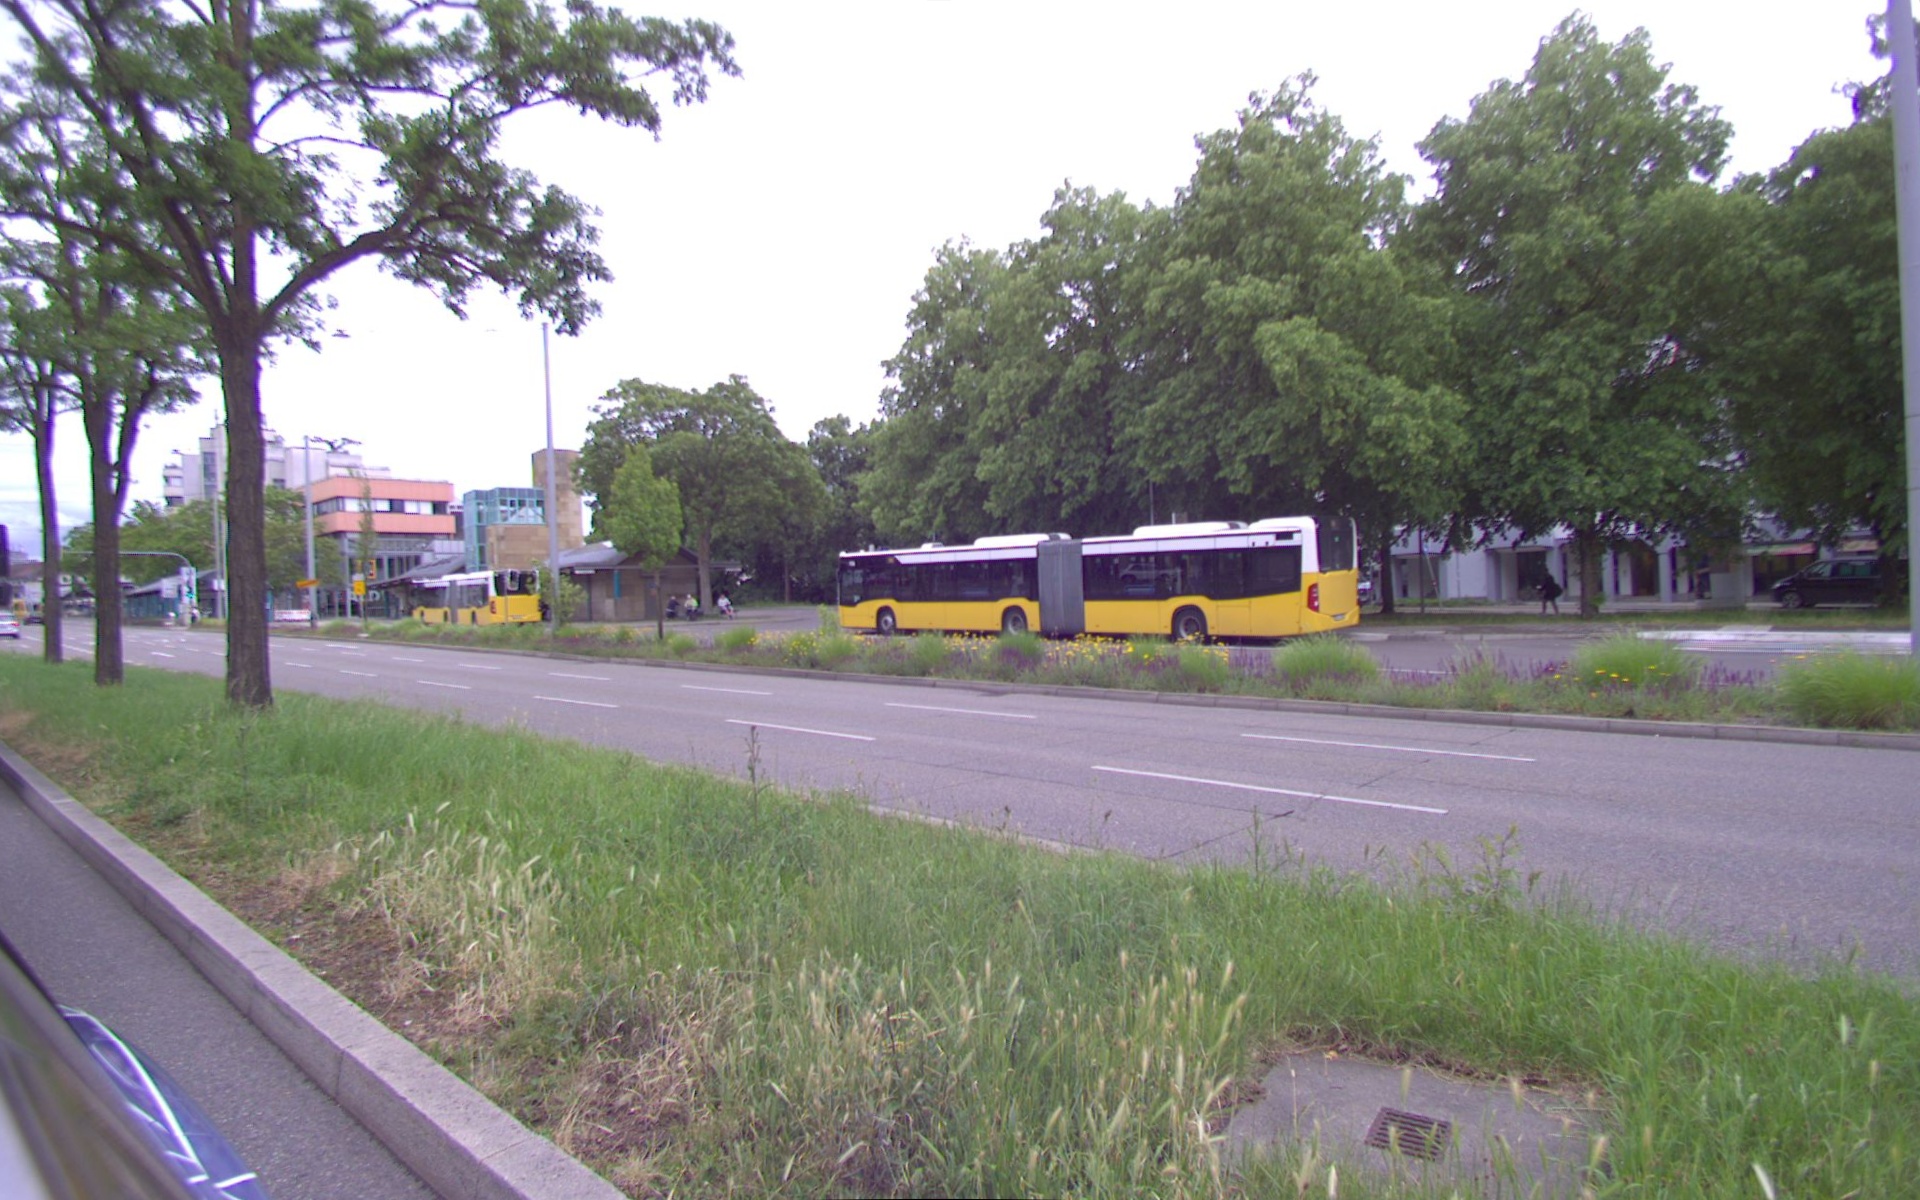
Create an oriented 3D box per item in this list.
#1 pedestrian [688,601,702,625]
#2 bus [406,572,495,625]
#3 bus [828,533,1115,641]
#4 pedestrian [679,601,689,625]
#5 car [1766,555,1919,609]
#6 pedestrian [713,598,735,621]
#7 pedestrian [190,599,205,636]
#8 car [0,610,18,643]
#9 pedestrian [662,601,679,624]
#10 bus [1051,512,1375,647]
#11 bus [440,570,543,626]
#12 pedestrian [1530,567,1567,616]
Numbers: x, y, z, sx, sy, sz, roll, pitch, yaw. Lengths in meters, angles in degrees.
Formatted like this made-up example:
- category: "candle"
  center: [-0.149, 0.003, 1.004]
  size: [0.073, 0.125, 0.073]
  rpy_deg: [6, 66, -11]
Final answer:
- category: "pedestrian"
  center: [-13.228, 0.628, 50.489]
  size: [0.589, 1.171, 0.745]
  rpy_deg: [-1, 0, -23]
- category: "bus"
  center: [-31.383, -0.032, 62.120]
  size: [2.846, 3.025, 9.191]
  rpy_deg: [-1, 0, -40]
- category: "bus"
  center: [-0.009, -0.305, 33.070]
  size: [2.848, 3.025, 10.401]
  rpy_deg: [-1, 0, -44]
- category: "pedestrian"
  center: [-13.738, 0.634, 50.391]
  size: [0.361, 1.175, 0.900]
  rpy_deg: [-1, 0, -23]
- category: "car"
  center: [33.129, -0.630, 37.787]
  size: [1.758, 1.861, 4.429]
  rpy_deg: [-1, 0, -35]
- category: "pedestrian"
  center: [-11.919, 0.473, 51.106]
  size: [0.924, 1.180, 0.641]
  rpy_deg: [-1, 0, 41]
- category: "pedestrian"
  center: [-58.240, 1.317, 77.291]
  size: [0.889, 2.809, 1.150]
  rpy_deg: [-1, 0, -36]
- category: "car"
  center: [-59.988, 1.666, 63.013]
  size: [4.000, 2.029, 1.703]
  rpy_deg: [-1, 0, 43]
- category: "pedestrian"
  center: [-14.877, 0.649, 51.969]
  size: [0.590, 1.171, 0.744]
  rpy_deg: [-1, 0, -35]
- category: "bus"
  center: [6.318, -0.421, 26.476]
  size: [2.849, 3.025, 7.889]
  rpy_deg: [-1, 0, -44]
- category: "bus"
  center: [-25.665, -0.048, 55.170]
  size: [2.846, 2.830, 9.192]
  rpy_deg: [-1, 0, -39]
- category: "pedestrian"
  center: [19.099, -0.271, 32.844]
  size: [0.904, 1.569, 0.761]
  rpy_deg: [-2, 0, 41]
